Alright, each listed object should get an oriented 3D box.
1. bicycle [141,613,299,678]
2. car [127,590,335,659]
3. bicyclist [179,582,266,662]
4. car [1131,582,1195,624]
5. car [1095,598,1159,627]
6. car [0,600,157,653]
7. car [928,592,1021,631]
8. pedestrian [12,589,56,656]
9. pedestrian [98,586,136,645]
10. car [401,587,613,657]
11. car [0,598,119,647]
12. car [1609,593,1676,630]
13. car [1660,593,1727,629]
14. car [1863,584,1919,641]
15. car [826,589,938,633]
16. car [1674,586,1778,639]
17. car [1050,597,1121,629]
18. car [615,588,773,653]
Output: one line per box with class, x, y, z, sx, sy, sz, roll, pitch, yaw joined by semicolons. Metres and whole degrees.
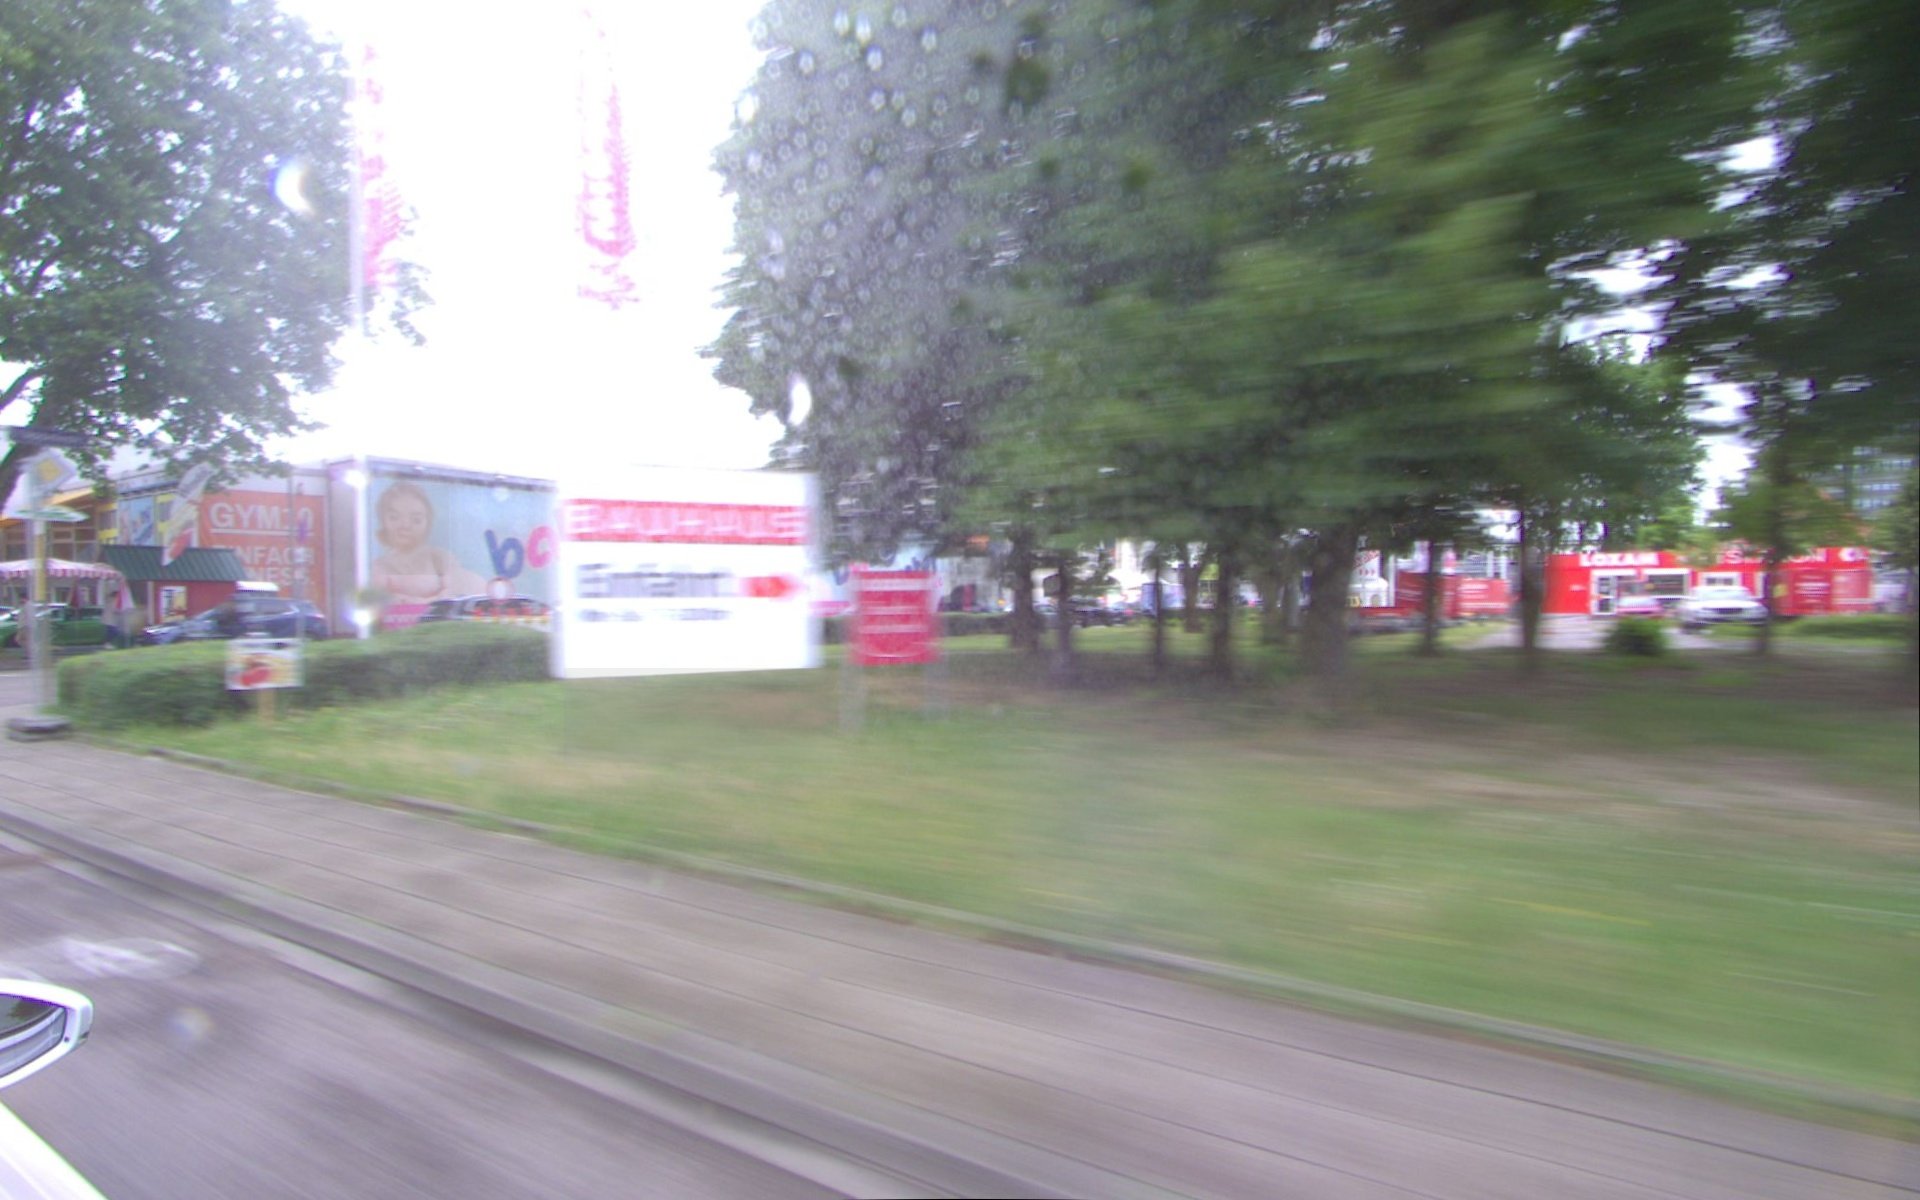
bicycle;-15.629;0.919;21.269;0.805;1.229;2.677;0;1;20
car;-19.538;0.594;26.978;1.970;1.699;4.191;0;1;41
bicyclist;-15.633;0.448;21.255;0.805;1.652;1.232;0;1;20
car;13.012;0.138;63.961;2.044;2.571;5.728;0;1;33
car;9.855;0.705;58.860;2.044;1.593;4.541;0;1;33
car;-29.355;0.825;32.957;1.764;1.572;4.205;0;1;31
car;0.699;0.480;44.750;2.044;1.593;4.541;0;1;33
pedestrian;-24.380;0.579;26.353;0.590;1.728;0.678;0;2;31
pedestrian;-25.164;0.451;29.898;0.590;1.728;0.678;0;2;31
car;-11.306;0.490;25.321;1.965;1.593;4.541;0;1;33
car;-31.345;0.737;33.778;1.764;1.572;4.205;0;1;31
car;31.042;0.508;45.658;2.123;1.577;4.547;0;1;29
car;36.049;0.514;49.324;2.123;1.699;4.547;0;1;29
car;30.432;0.337;31.394;2.122;1.699;4.548;0;1;28
car;-2.975;0.390;39.307;2.044;1.593;4.541;0;1;33
car;26.100;0.390;34.302;2.122;1.699;4.548;0;1;28
car;6.790;0.669;53.783;2.044;1.593;4.541;0;1;33
car;-8.110;0.573;30.906;2.044;1.814;4.542;1;1;33
